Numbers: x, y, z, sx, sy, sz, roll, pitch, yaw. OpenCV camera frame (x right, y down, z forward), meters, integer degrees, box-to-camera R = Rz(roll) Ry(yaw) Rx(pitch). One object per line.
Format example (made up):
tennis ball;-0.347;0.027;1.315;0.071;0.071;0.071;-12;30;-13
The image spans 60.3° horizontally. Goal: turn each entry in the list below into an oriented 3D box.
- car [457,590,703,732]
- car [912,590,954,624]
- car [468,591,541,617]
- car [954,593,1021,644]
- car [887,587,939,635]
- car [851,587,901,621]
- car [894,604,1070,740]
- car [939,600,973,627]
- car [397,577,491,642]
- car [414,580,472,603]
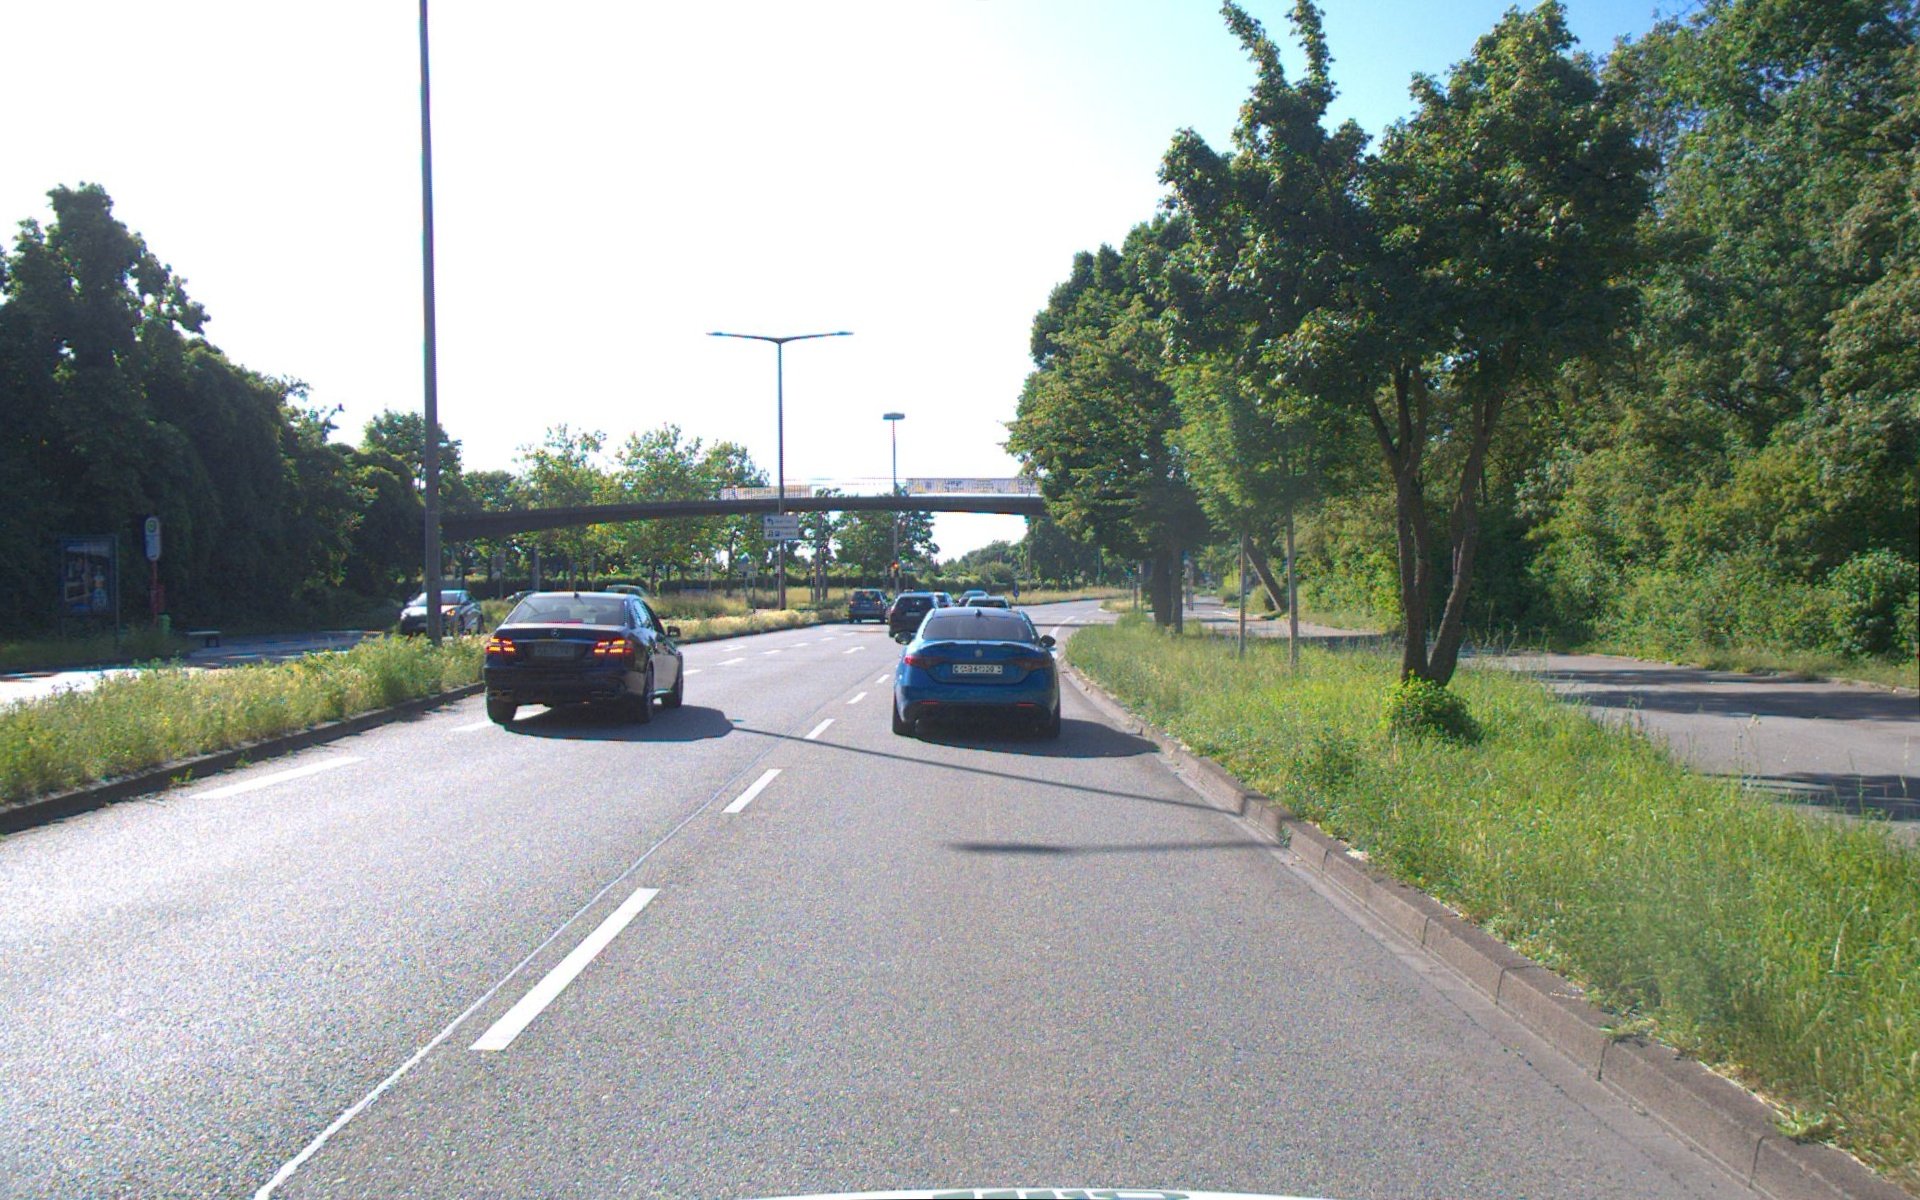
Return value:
car;-4.470;0.646;20.251;1.919;1.509;4.917;0;0;-1
car;-1.227;0.304;75.007;1.845;1.479;4.525;0;0;-1
car;-29.721;0.240;107.975;4.217;1.679;2.001;0;0;19
car;0.796;0.542;50.313;1.845;1.479;4.525;0;0;-1
car;-1.694;0.378;58.146;1.674;1.626;4.220;0;0;-4
car;-4.002;0.190;79.113;1.759;1.583;3.733;0;0;7
car;0.186;0.765;19.542;1.845;1.431;4.223;0;0;-1
car;-0.247;0.767;92.941;1.845;1.479;4.525;0;0;-1
car;-16.865;0.298;54.271;1.954;2.049;4.578;0;0;-5
car;-47.882;-0.758;153.332;4.686;2.049;2.000;0;0;1
